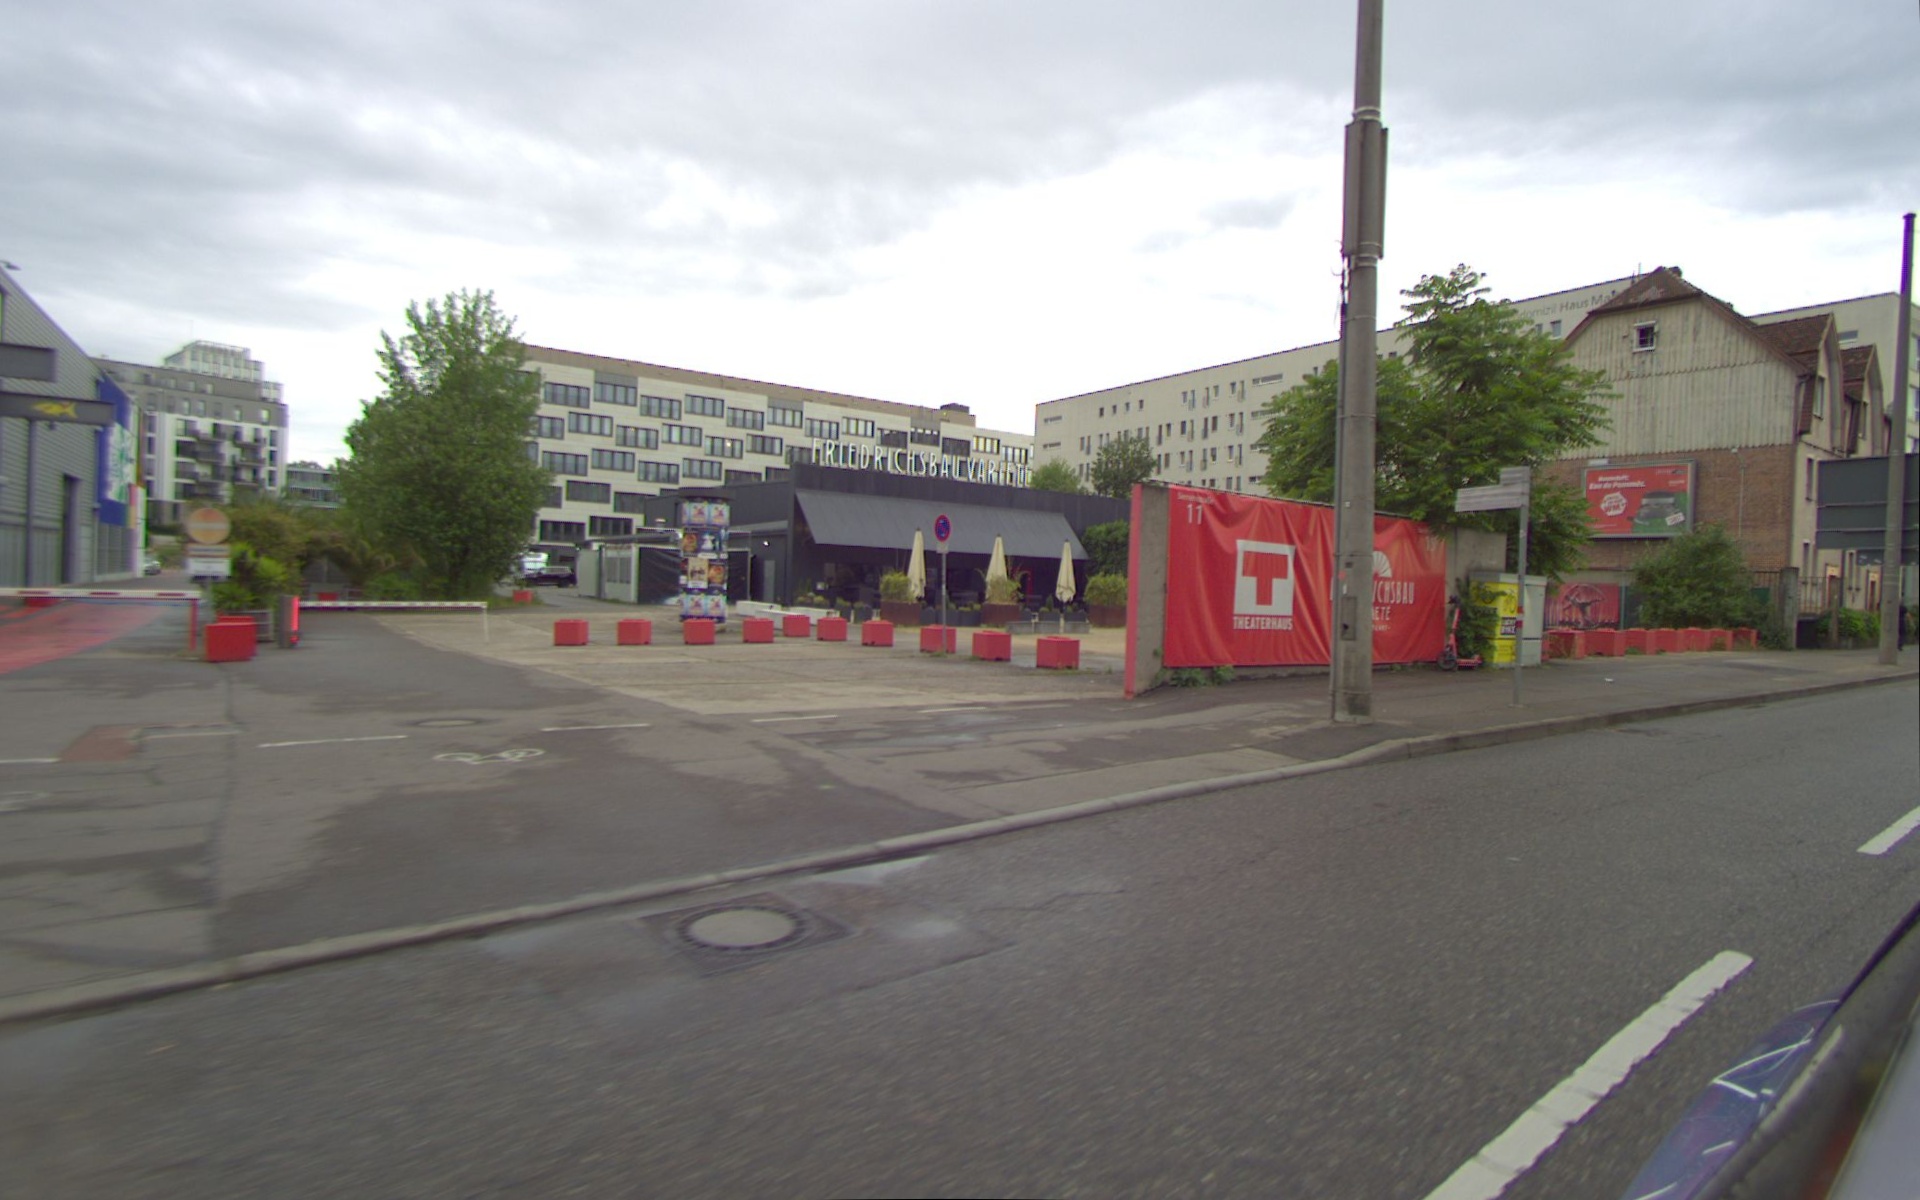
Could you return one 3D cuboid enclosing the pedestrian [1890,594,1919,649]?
[{"bbox_3d":[31.533,0.696,33.597,0.896,1.786,0.767,-1,0,-33],"label":"pedestrian"}]
